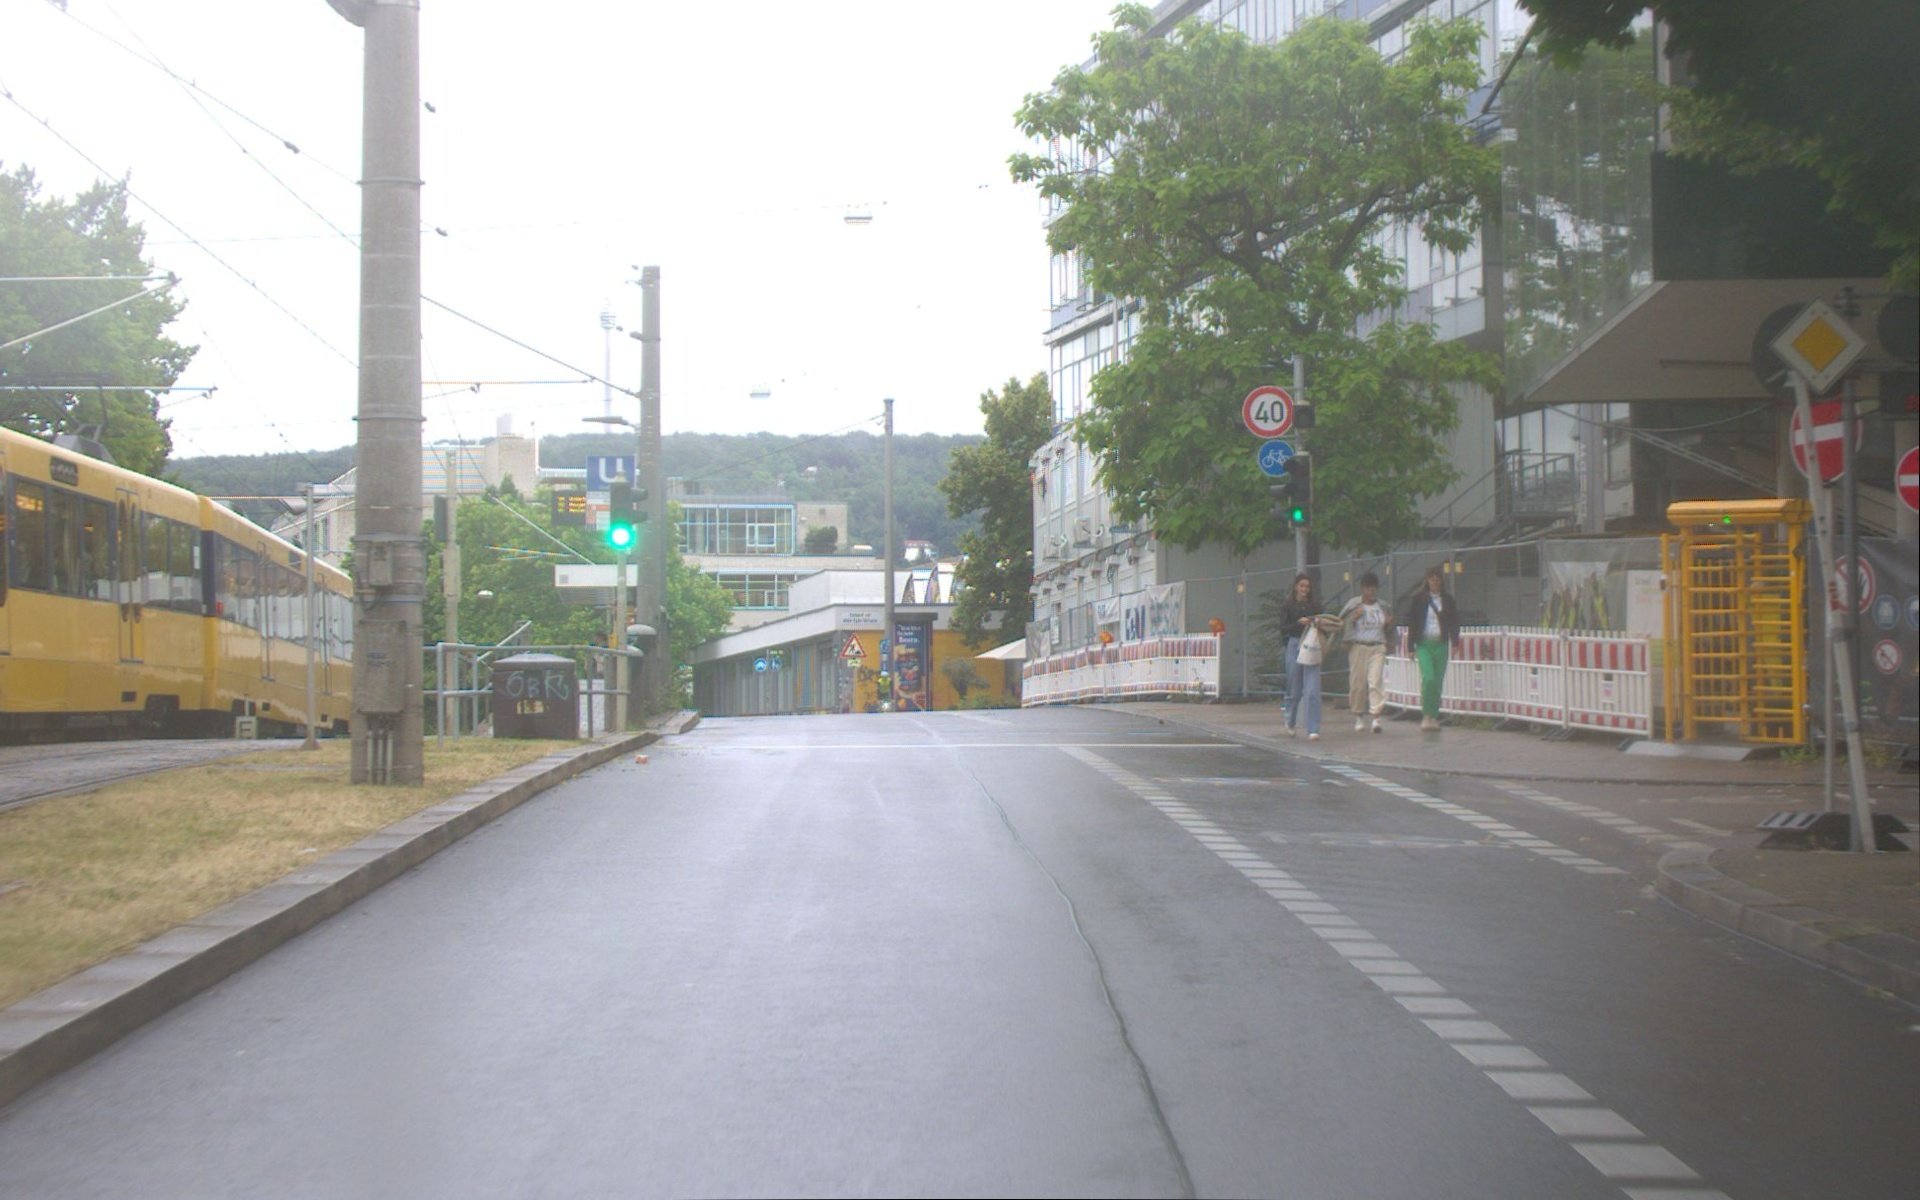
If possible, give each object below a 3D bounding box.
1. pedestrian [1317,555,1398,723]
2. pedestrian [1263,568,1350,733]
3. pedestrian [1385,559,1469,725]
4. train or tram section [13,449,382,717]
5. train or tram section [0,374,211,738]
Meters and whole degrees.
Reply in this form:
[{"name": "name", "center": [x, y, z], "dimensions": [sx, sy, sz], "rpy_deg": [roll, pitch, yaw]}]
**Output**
[{"name": "pedestrian", "center": [4.325, 0.416, 37.476], "dimensions": [0.699, 1.809, 0.977], "rpy_deg": [0, 0, -4]}, {"name": "pedestrian", "center": [3.658, 0.520, 36.380], "dimensions": [0.736, 1.724, 1.119], "rpy_deg": [0, 0, -4]}, {"name": "pedestrian", "center": [5.084, 0.446, 37.493], "dimensions": [0.699, 1.779, 1.067], "rpy_deg": [0, 0, -4]}, {"name": "train or tram section", "center": [-12.074, -0.064, 56.767], "dimensions": [2.746, 3.684, 18.971], "rpy_deg": [0, -1, -3]}, {"name": "train or tram section", "center": [-11.243, -0.398, 37.809], "dimensions": [2.746, 3.684, 18.971], "rpy_deg": [0, -1, -3]}]
